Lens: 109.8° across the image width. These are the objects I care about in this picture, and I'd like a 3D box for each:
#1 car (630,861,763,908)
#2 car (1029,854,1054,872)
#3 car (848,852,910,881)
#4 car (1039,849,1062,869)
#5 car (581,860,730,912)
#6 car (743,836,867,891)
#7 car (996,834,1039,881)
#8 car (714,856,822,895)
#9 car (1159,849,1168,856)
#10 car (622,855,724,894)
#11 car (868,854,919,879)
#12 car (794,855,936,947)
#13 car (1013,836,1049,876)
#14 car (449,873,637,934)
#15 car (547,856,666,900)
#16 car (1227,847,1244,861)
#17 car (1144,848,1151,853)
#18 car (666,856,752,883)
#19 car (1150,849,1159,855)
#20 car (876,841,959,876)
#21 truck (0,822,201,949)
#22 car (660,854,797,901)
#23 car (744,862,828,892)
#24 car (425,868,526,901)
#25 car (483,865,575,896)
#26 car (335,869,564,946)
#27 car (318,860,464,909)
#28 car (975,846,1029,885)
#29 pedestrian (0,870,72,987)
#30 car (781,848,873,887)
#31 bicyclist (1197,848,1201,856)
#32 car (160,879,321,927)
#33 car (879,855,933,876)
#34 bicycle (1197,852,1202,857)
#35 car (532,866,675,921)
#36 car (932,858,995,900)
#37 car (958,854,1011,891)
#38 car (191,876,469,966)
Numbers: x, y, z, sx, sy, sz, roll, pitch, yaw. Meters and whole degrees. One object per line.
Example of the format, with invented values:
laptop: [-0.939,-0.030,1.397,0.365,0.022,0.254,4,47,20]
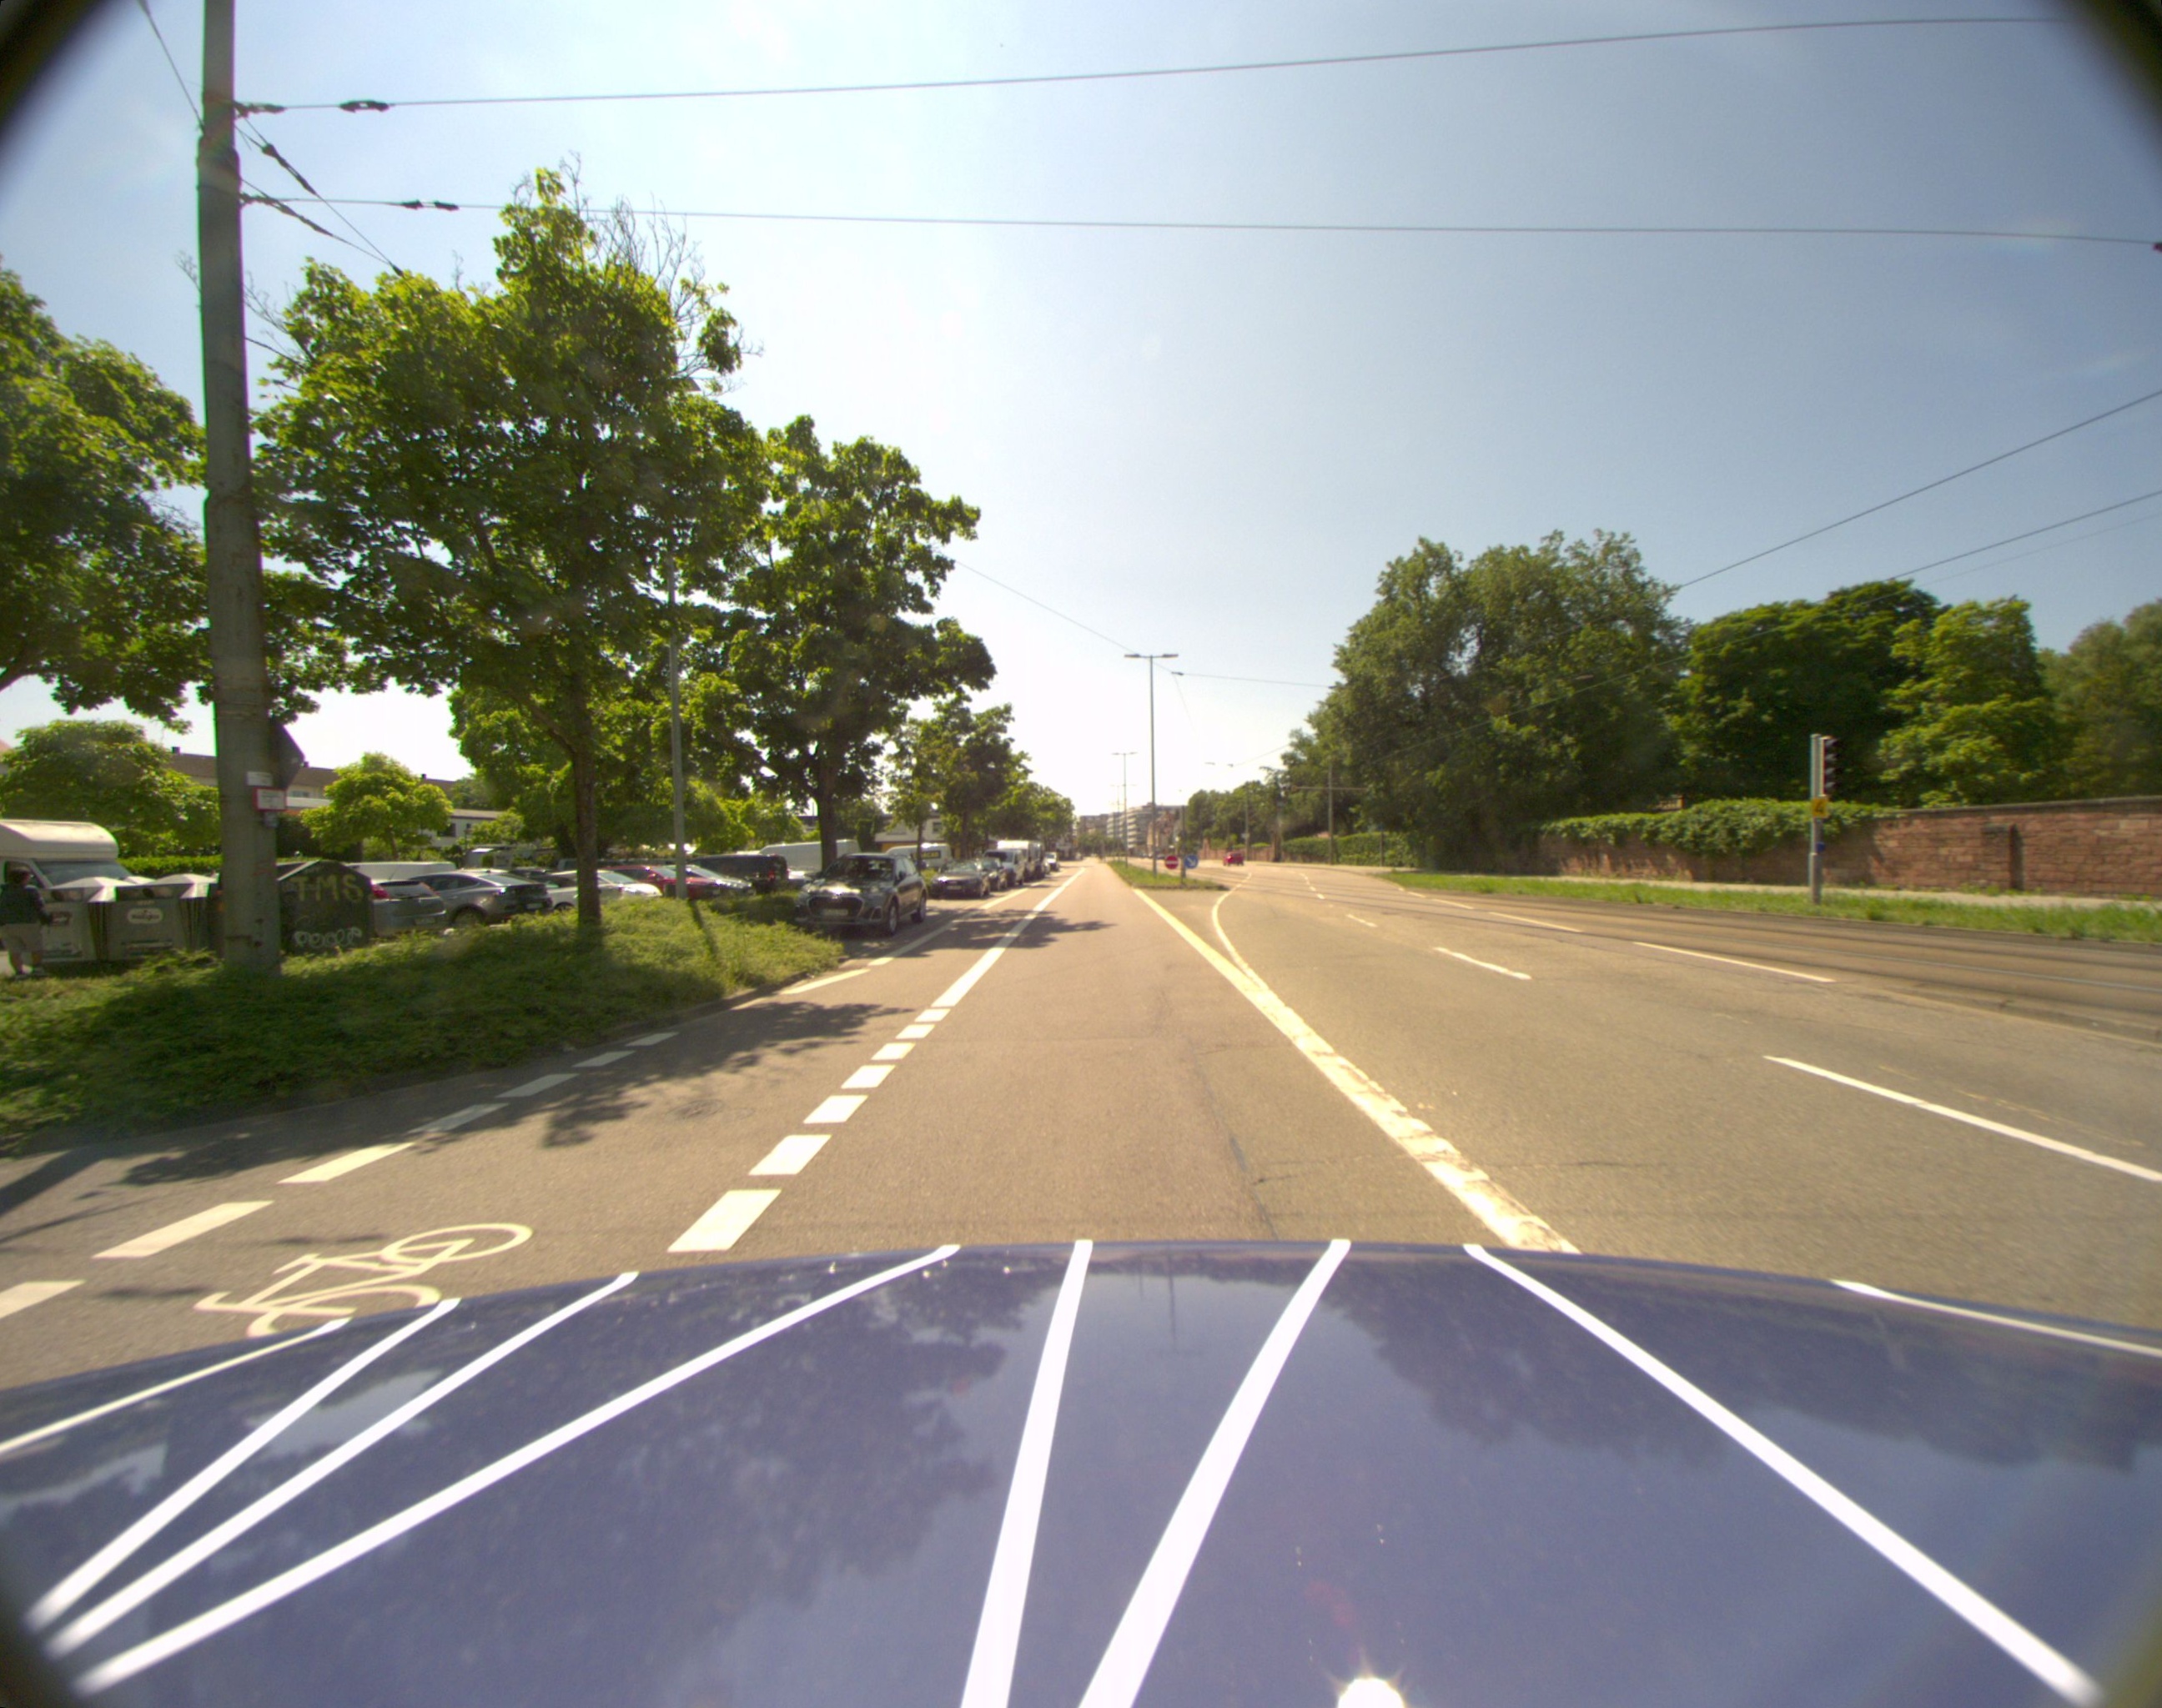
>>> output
car: [-14.450,1.122,28.703,4.031,1.482,1.770,-3,1,-1]
car: [-3.339,0.725,64.660,1.726,1.419,4.209,1,1,1]
car: [-14.230,0.847,53.673,3.789,1.774,1.953,-3,1,-3]
car: [-2.999,0.461,76.195,1.884,1.905,5.125,1,0,2]
car: [-14.590,1.079,26.203,4.031,1.482,1.770,-3,1,-1]
car: [-14.307,0.488,39.596,5.503,2.445,2.095,-3,1,2]
car: [-3.829,0.183,46.685,2.002,2.621,6.142,1,0,1]
car: [-14.073,0.948,34.302,4.031,1.482,1.770,-3,1,-1]
car: [18.893,-0.278,174.482,1.760,1.440,4.123,-3,0,3]
car: [-26.396,1.314,49.255,5.503,2.445,2.095,0,1,2]
car: [-14.544,0.921,58.980,3.380,1.707,1.728,-3,1,1]
car: [-4.575,0.902,16.850,1.716,1.623,4.707,1,1,1]
car: [-3.446,0.110,53.428,2.002,2.621,6.078,1,0,1]
car: [-14.774,1.338,21.009,3.869,1.350,1.770,-3,1,2]
car: [-26.951,1.330,43.297,5.503,2.445,2.095,0,1,2]
car: [16.858,-0.046,82.885,1.709,1.405,4.284,-2,0,10]
car: [20.633,-1.069,237.175,1.845,1.408,4.710,-4,0,1]
car: [-26.535,1.099,54.275,5.108,1.865,2.095,0,1,2]
car: [19.613,-0.535,202.736,1.845,1.408,5.034,-4,0,1]
car: [-13.791,0.384,64.245,6.355,2.514,2.263,-3,1,4]
truck: [-27.622,0.741,19.617,6.964,3.067,2.424,0,1,0]
car: [-14.651,0.957,31.772,4.703,1.635,1.954,-3,1,2]
car: [-14.278,1.113,36.873,3.342,1.182,1.682,-3,1,2]
car: [-27.708,1.362,34.822,3.342,1.420,1.682,0,1,3]
car: [-26.966,1.267,37.174,3.342,1.420,1.682,0,1,3]
car: [-14.963,1.233,18.170,3.870,1.481,1.769,-3,1,-1]
car: [-26.834,1.165,29.666,4.010,1.797,1.753,0,1,-2]
car: [-4.047,0.542,39.753,2.002,1.867,5.276,1,0,3]
pedestrian: [-16.511,1.138,11.802,0.678,1.747,0.689,-2,1,4]
car: [-14.168,0.729,42.650,4.418,1.898,1.953,-3,1,-3]
bicyclist: [22.090,-0.359,141.900,0.654,1.488,0.662,-2,1,-1]
car: [-27.272,1.573,24.740,3.473,1.420,1.682,0,1,3]
car: [-14.139,0.910,61.411,3.896,1.463,1.727,-3,1,-1]
bicycle: [22.099,0.023,141.877,0.654,0.951,2.114,-2,0,0]
car: [-14.866,1.205,23.776,3.342,1.420,1.682,-3,1,2]
car: [-4.359,0.879,28.908,1.716,1.410,4.707,1,0,-1]
car: [-4.252,0.774,34.041,1.716,1.532,3.840,1,0,3]
car: [-15.472,1.344,15.826,3.870,1.481,1.769,-3,1,-1]
